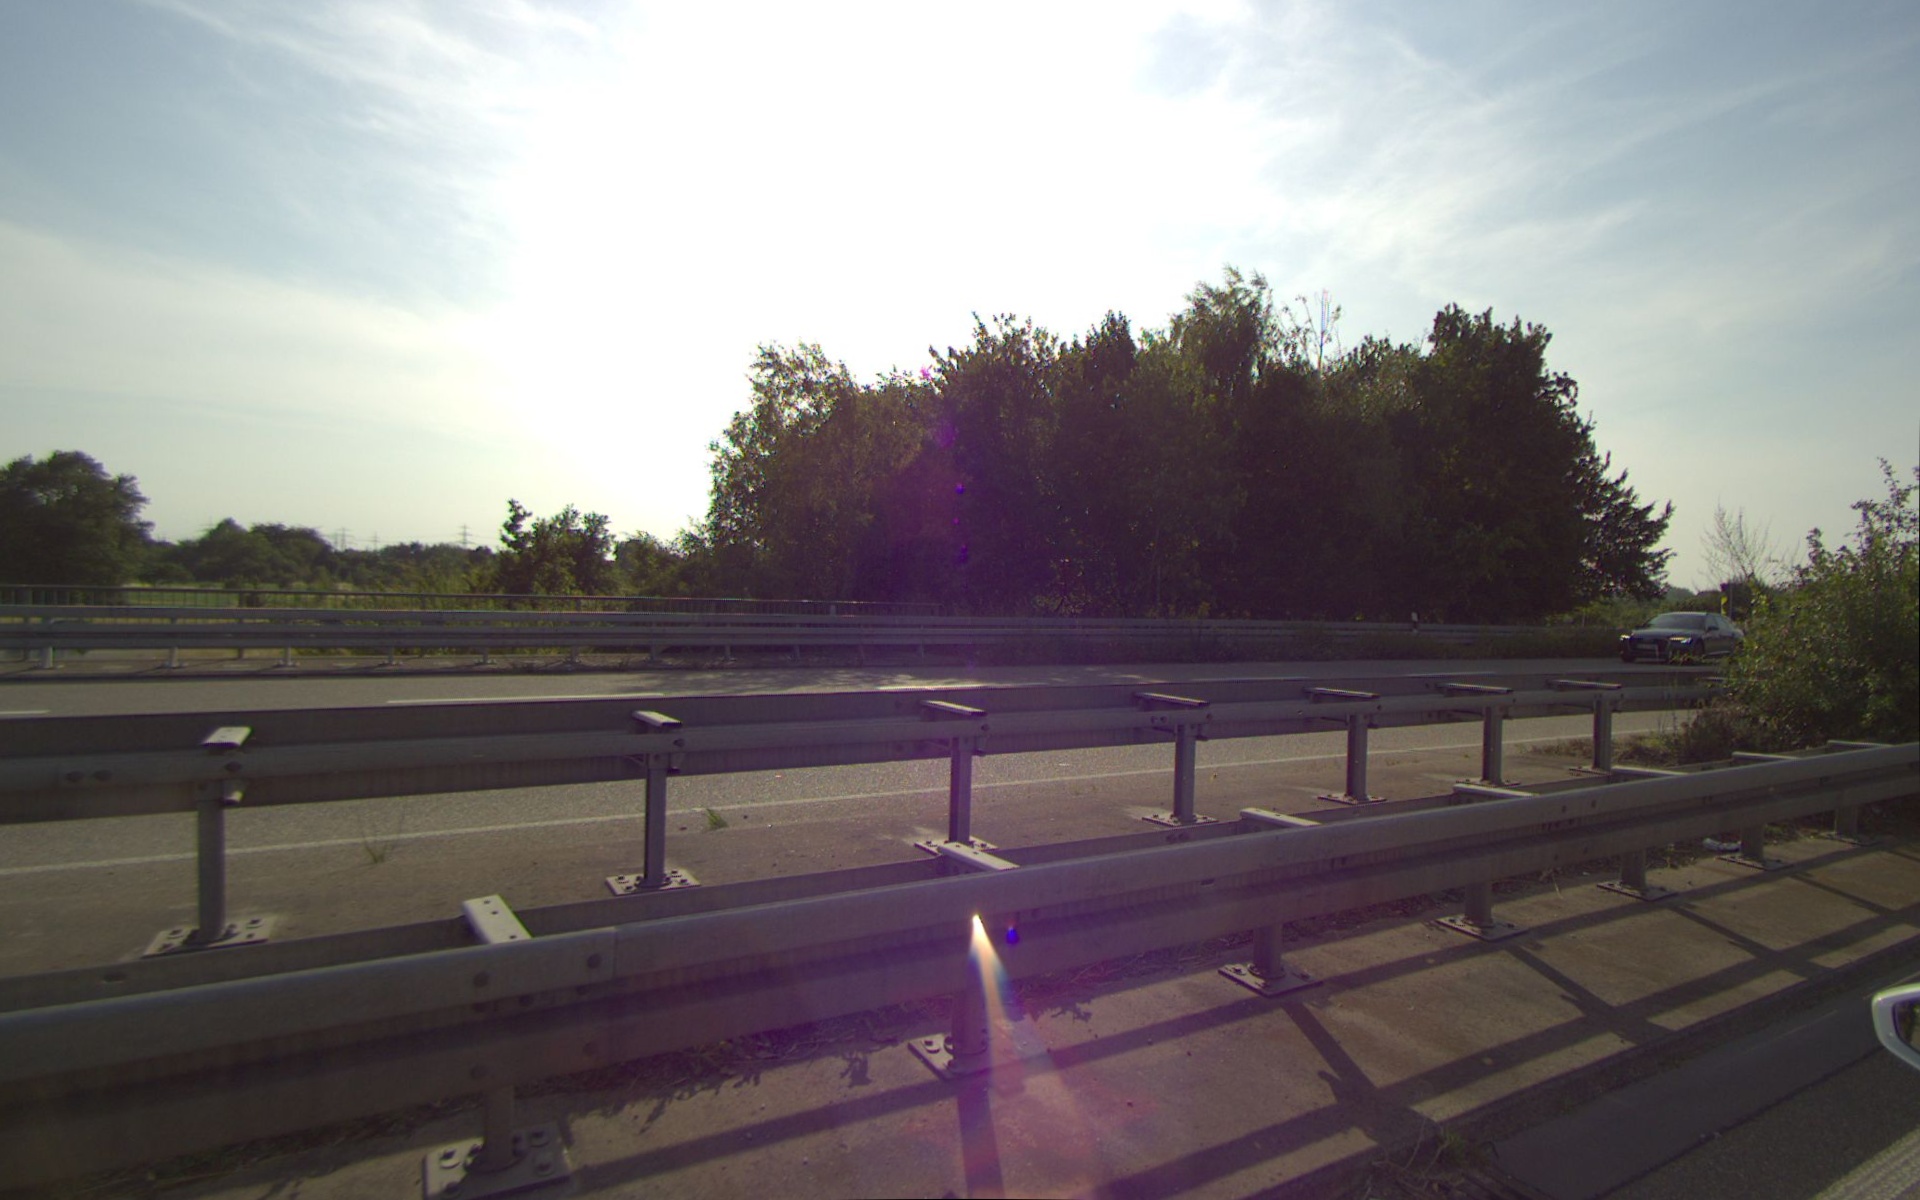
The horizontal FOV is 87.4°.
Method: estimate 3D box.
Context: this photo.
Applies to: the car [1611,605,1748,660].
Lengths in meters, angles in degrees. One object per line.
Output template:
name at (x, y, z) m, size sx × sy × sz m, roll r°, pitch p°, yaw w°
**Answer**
car at (20.670, 0.919, 28.826) m, size 4.064 × 1.472 × 1.942 m, roll 1°, pitch -1°, yaw -34°
